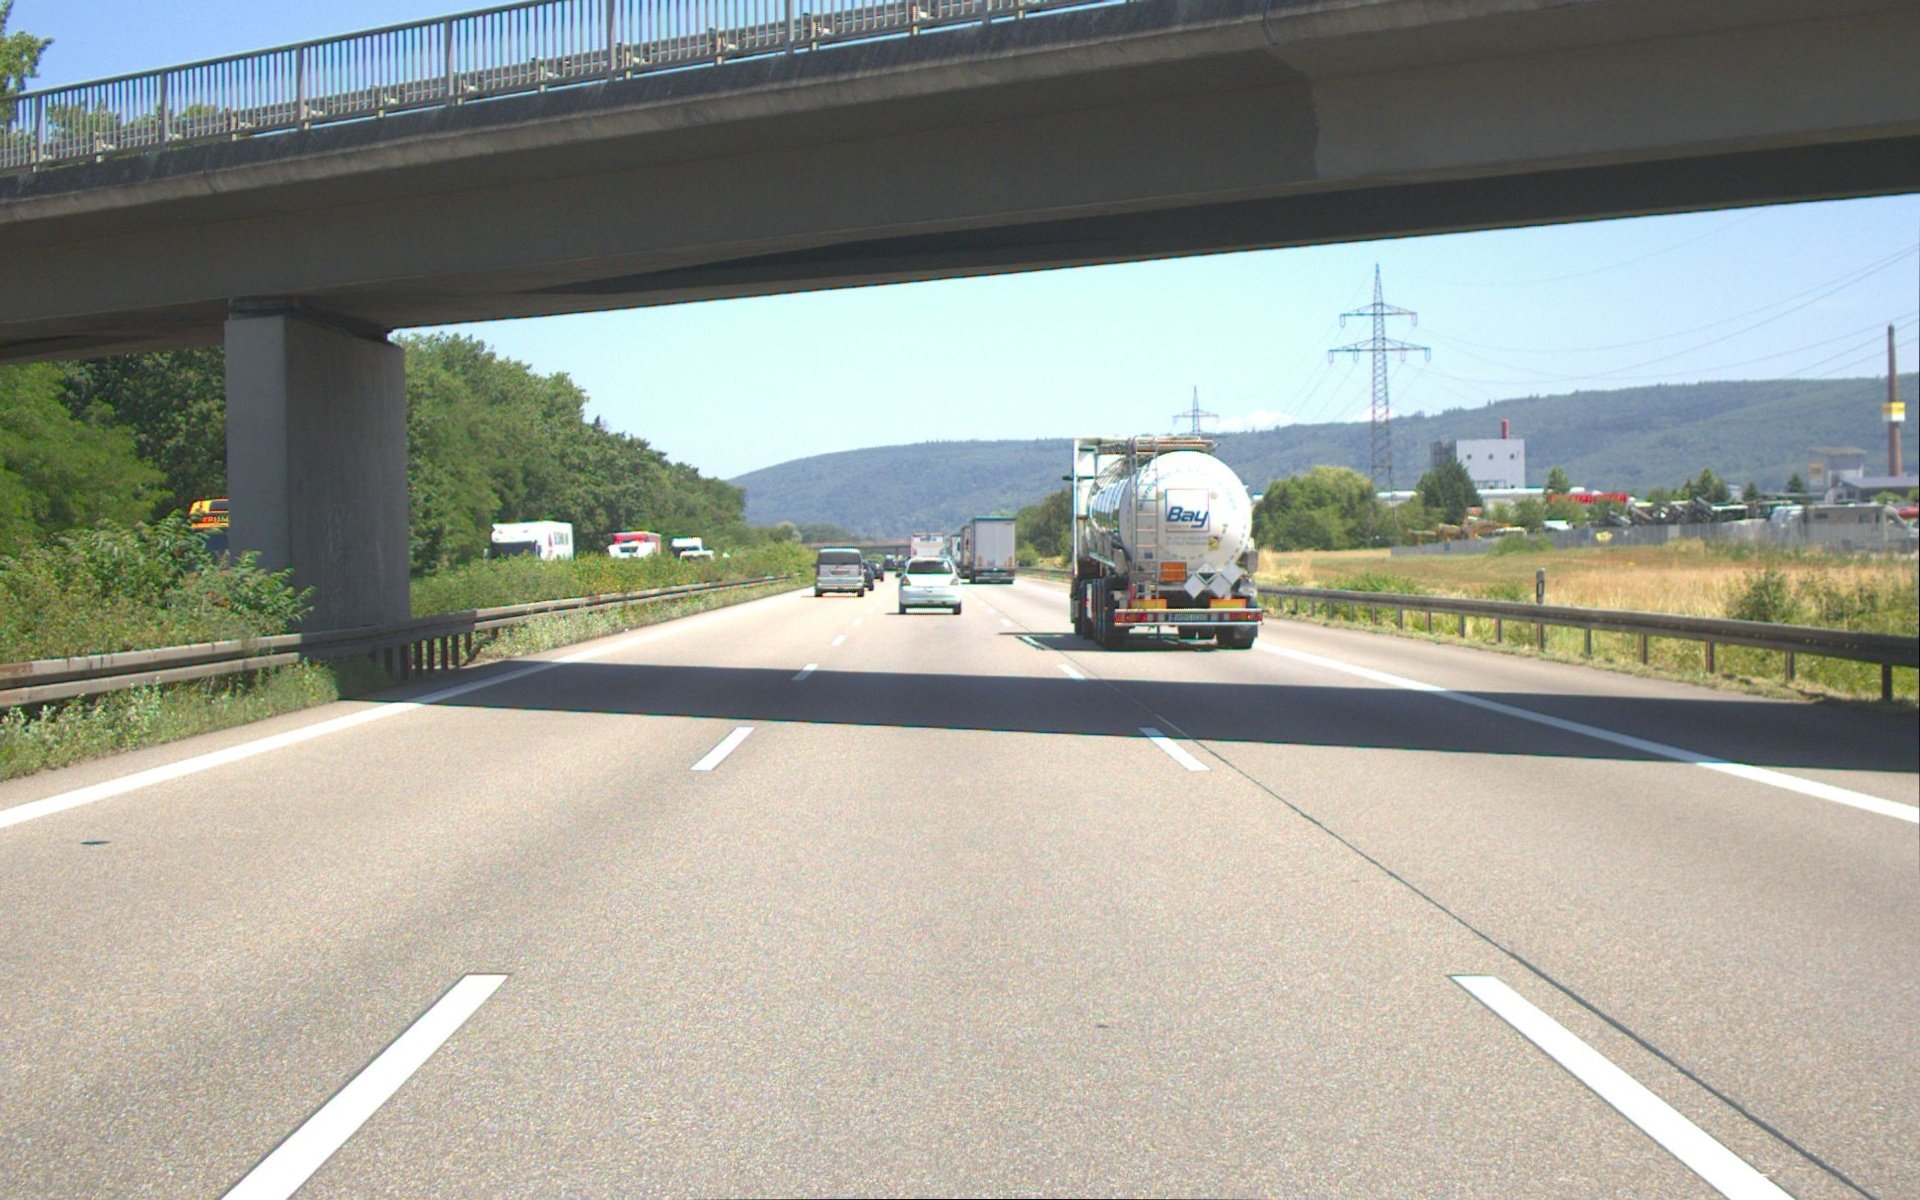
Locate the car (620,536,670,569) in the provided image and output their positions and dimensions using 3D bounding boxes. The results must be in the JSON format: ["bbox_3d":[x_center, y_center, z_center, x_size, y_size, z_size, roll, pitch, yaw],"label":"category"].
[{"bbox_3d":[-17.809,-2.690,194.473,2.302,1.774,5.424,1,1,0],"label":"car"}]

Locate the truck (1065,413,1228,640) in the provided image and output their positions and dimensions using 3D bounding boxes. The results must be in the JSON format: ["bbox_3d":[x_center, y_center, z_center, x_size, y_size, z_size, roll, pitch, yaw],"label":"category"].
[{"bbox_3d":[3.469,-1.374,65.335,2.573,4.058,6.393,1,1,-1],"label":"truck"}]

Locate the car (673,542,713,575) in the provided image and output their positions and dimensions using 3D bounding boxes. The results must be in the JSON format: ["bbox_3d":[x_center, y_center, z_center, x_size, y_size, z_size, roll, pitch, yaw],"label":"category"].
[{"bbox_3d":[-15.117,-2.369,195.156,2.092,1.774,5.462,1,1,-3],"label":"car"}]

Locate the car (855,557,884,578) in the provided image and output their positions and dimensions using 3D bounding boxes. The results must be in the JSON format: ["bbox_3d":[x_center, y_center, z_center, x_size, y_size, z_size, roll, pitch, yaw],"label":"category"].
[{"bbox_3d":[-6.024,-2.162,228.645,1.835,1.382,4.000,1,1,0],"label":"car"}]

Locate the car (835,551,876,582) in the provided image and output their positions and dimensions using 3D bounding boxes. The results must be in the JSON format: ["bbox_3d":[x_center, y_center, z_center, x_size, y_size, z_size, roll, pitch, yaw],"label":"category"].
[{"bbox_3d":[-4.904,-1.592,161.727,1.835,1.382,4.000,1,1,0],"label":"car"}]

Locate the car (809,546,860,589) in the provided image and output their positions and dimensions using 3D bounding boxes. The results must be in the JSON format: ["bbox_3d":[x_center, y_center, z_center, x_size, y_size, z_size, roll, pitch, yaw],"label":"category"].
[{"bbox_3d":[-4.919,-1.298,134.694,1.852,1.627,4.000,1,1,0],"label":"car"}]

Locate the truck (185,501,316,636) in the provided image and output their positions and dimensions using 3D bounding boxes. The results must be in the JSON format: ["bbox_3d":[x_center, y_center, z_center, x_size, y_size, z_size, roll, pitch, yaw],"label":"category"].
[{"bbox_3d":[-21.264,-0.970,103.271,2.612,3.885,6.500,1,1,-1],"label":"truck"}]

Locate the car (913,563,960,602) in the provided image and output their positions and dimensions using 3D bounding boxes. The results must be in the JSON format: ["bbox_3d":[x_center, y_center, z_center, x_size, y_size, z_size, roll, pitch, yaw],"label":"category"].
[{"bbox_3d":[-0.969,-0.737,141.992,1.885,1.510,4.000,1,1,0],"label":"car"}]

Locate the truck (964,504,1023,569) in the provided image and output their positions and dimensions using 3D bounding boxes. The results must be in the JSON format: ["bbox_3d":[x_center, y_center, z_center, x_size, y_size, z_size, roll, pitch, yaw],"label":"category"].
[{"bbox_3d":[2.019,-3.910,211.343,3.265,3.844,11.632,1,1,-1],"label":"truck"}]

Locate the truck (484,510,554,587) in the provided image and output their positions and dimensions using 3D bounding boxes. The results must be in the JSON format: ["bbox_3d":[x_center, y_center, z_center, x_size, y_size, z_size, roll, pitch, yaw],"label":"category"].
[{"bbox_3d":[-21.826,-2.541,170.298,2.795,3.708,5.117,1,1,0],"label":"truck"}]

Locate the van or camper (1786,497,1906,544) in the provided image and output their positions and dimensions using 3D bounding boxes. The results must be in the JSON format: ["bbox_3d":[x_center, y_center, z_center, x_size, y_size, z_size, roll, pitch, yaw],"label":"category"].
[{"bbox_3d":[51.564,-4.617,200.173,6.343,2.544,2.438,-2,1,1],"label":"van or camper"}]

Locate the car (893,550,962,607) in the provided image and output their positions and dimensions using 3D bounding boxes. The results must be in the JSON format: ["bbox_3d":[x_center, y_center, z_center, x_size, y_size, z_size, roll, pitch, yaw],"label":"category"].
[{"bbox_3d":[-0.867,-0.602,93.117,1.806,1.463,4.000,1,1,0],"label":"car"}]

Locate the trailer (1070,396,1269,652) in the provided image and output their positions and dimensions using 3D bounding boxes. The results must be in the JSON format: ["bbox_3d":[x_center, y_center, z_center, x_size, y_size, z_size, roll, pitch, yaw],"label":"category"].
[{"bbox_3d":[3.538,-1.307,60.618,2.580,4.060,11.104,1,1,-1],"label":"trailer"}]
